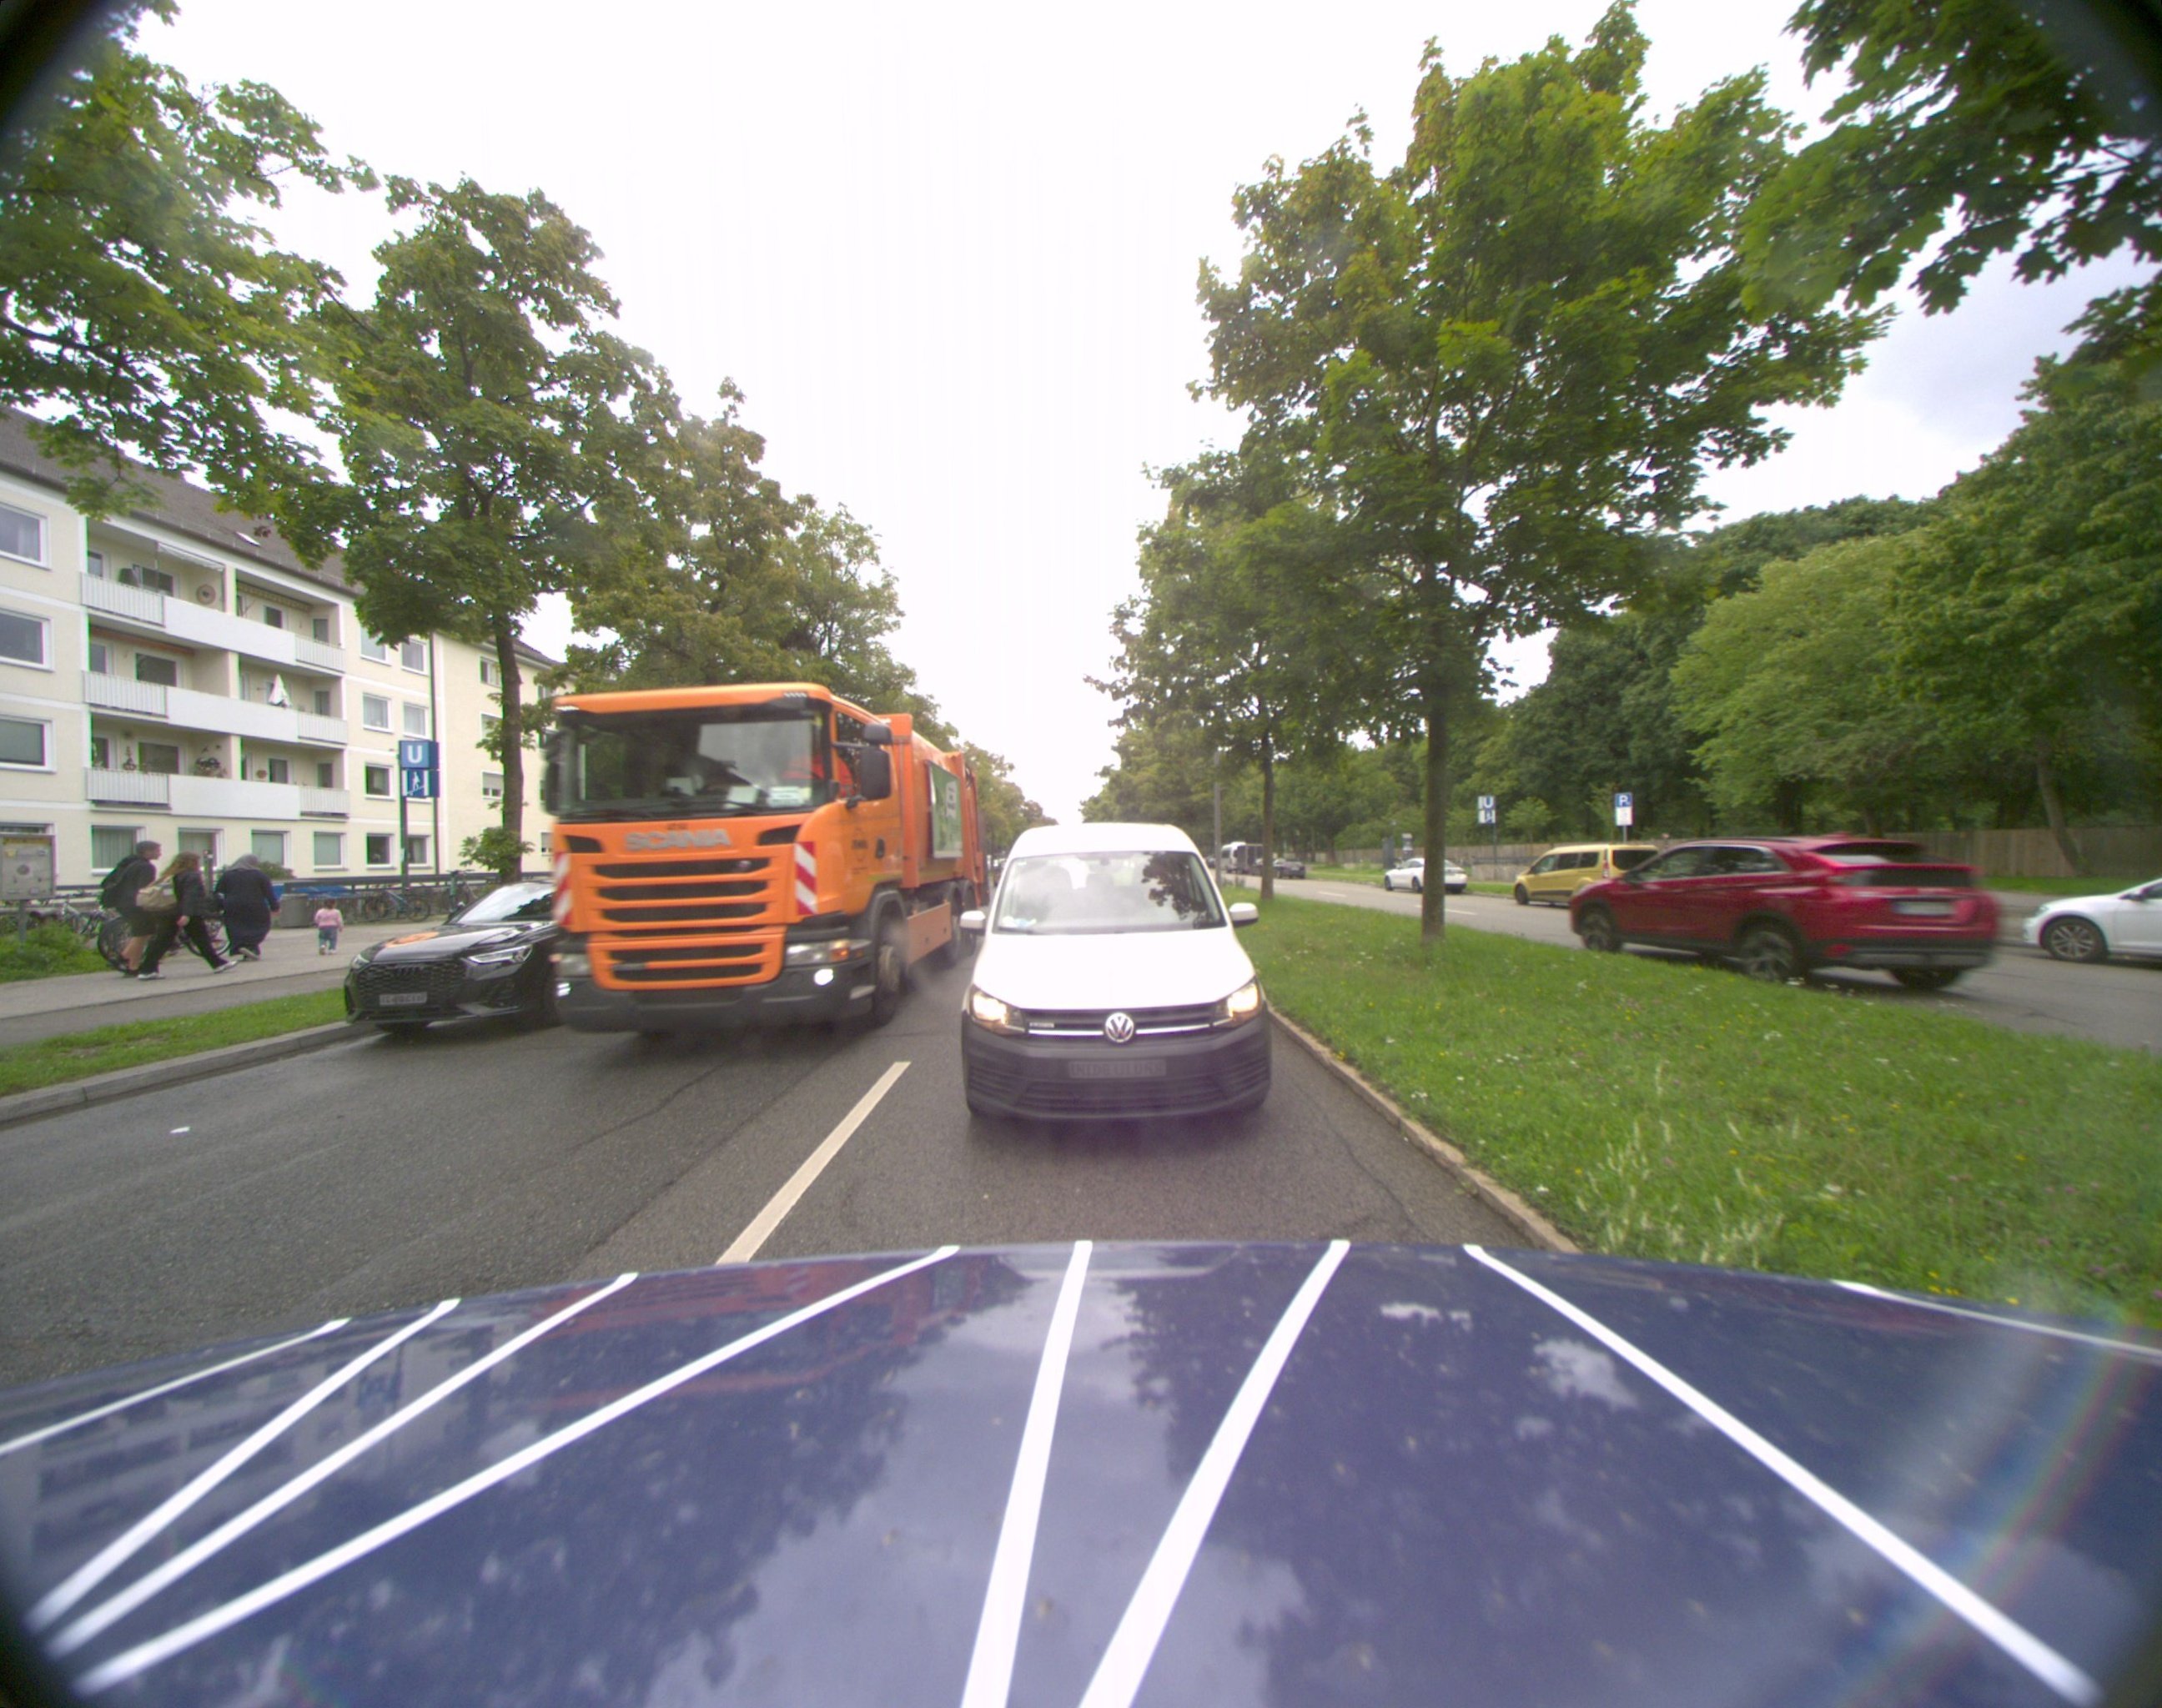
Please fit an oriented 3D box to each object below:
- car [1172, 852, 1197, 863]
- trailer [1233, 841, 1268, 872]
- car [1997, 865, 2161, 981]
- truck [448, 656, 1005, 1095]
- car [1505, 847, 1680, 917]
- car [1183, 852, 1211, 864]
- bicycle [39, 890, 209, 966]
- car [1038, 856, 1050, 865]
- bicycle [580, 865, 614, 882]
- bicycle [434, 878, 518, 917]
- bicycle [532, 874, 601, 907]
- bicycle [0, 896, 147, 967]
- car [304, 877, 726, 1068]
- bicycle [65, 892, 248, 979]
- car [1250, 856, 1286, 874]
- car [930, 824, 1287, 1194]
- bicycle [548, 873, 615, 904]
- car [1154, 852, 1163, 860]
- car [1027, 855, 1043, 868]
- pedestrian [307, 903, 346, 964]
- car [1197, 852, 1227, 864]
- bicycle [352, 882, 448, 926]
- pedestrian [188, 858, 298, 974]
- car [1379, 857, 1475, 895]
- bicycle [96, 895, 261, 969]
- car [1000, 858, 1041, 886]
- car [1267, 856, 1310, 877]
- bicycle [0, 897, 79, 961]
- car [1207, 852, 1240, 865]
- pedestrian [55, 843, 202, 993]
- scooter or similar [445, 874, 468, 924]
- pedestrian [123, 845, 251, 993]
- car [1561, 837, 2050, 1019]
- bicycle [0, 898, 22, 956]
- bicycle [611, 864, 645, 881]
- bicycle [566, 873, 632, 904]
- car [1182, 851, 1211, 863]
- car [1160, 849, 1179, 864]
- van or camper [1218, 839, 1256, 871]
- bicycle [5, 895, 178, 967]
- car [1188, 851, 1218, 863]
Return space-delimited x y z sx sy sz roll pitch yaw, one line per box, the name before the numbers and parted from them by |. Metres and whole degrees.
car | 17.932 0.613 131.417 4.006 1.548 1.887 -3 0 -32
trailer | 14.611 0.236 65.702 2.022 2.575 4.658 0 0 0
car | 14.593 0.893 9.090 1.767 1.441 4.532 0 0 0
truck | -3.088 0.157 10.225 3.046 3.170 9.132 -2 0 0
car | 14.352 0.707 21.740 1.819 1.772 4.817 0 0 1
car | 18.195 0.605 119.476 4.006 1.548 1.887 -3 0 -32
bicycle | -15.961 1.200 12.756 0.432 1.095 1.883 0 0 1
car | -5.958 1.034 122.574 1.735 1.498 4.441 -2 0 -1
bicycle | -28.922 1.163 45.413 1.696 0.965 0.455 -1 0 -4
bicycle | -16.660 1.192 20.939 1.882 1.022 0.432 0 1 -3
bicycle | -16.636 1.180 24.592 1.882 1.022 0.432 0 1 -3
bicycle | -17.214 1.267 12.870 0.432 1.022 1.883 0 0 1
car | -6.119 1.142 9.009 1.721 1.524 4.275 -2 0 0
bicycle | -13.838 1.170 11.461 0.432 1.127 1.884 0 0 1
car | 14.678 0.856 59.810 1.805 1.376 4.238 0 0 0
car | 0.107 0.766 6.092 1.750 1.807 4.667 -1 0 -1
bicycle | -16.719 1.146 25.456 1.883 1.022 0.432 0 1 -6
car | 16.780 0.408 164.348 1.889 1.435 4.169 -2 1 4
car | -6.062 0.979 99.861 1.686 1.632 4.465 -4 0 0
pedestrian | -12.465 1.307 12.550 0.434 0.944 0.410 0 1 42
car | 19.046 0.612 110.264 4.005 1.446 1.736 -3 0 -27
bicycle | -16.539 1.214 18.472 1.882 1.022 0.432 0 1 -3
pedestrian | -12.812 0.908 11.652 0.842 1.671 0.833 -1 1 -25
car | 14.656 0.873 32.500 1.861 1.464 4.874 0 0 0
bicycle | -14.730 1.241 12.489 0.432 1.022 1.883 0 0 1
car | -3.398 0.980 43.351 1.799 1.434 4.667 -3 0 1
car | 14.478 0.830 53.231 1.805 1.417 4.431 0 0 0
bicycle | -18.467 1.295 12.881 0.432 1.022 1.883 0 0 1
car | 18.338 0.612 97.924 4.006 1.477 1.797 -3 0 -34
pedestrian | -12.541 0.805 10.039 0.731 1.879 0.919 0 1 -1
scooter or similar | -15.918 1.130 19.358 0.359 1.193 1.386 -1 1 -42
pedestrian | -11.856 0.830 10.114 0.589 1.879 0.902 -1 1 -1
car | 8.142 0.687 9.256 1.908 1.686 4.245 1 0 1
bicycle | -19.450 1.309 12.842 0.432 1.022 1.883 0 0 1
bicycle | -27.139 1.107 45.552 1.696 0.965 0.455 -1 0 -4
bicycle | -16.486 1.169 26.015 1.883 1.022 0.432 0 1 -8
car | 17.595 0.485 115.819 4.006 1.548 1.887 -3 0 -32
car | 11.352 0.335 98.179 1.804 1.922 4.993 0 0 -1
van or camper | 14.658 0.114 71.816 2.040 2.821 7.546 0 0 0
bicycle | -16.637 1.262 12.854 0.432 1.022 1.883 0 0 1
car | 18.233 0.482 113.252 4.005 1.548 1.888 -3 0 -27
